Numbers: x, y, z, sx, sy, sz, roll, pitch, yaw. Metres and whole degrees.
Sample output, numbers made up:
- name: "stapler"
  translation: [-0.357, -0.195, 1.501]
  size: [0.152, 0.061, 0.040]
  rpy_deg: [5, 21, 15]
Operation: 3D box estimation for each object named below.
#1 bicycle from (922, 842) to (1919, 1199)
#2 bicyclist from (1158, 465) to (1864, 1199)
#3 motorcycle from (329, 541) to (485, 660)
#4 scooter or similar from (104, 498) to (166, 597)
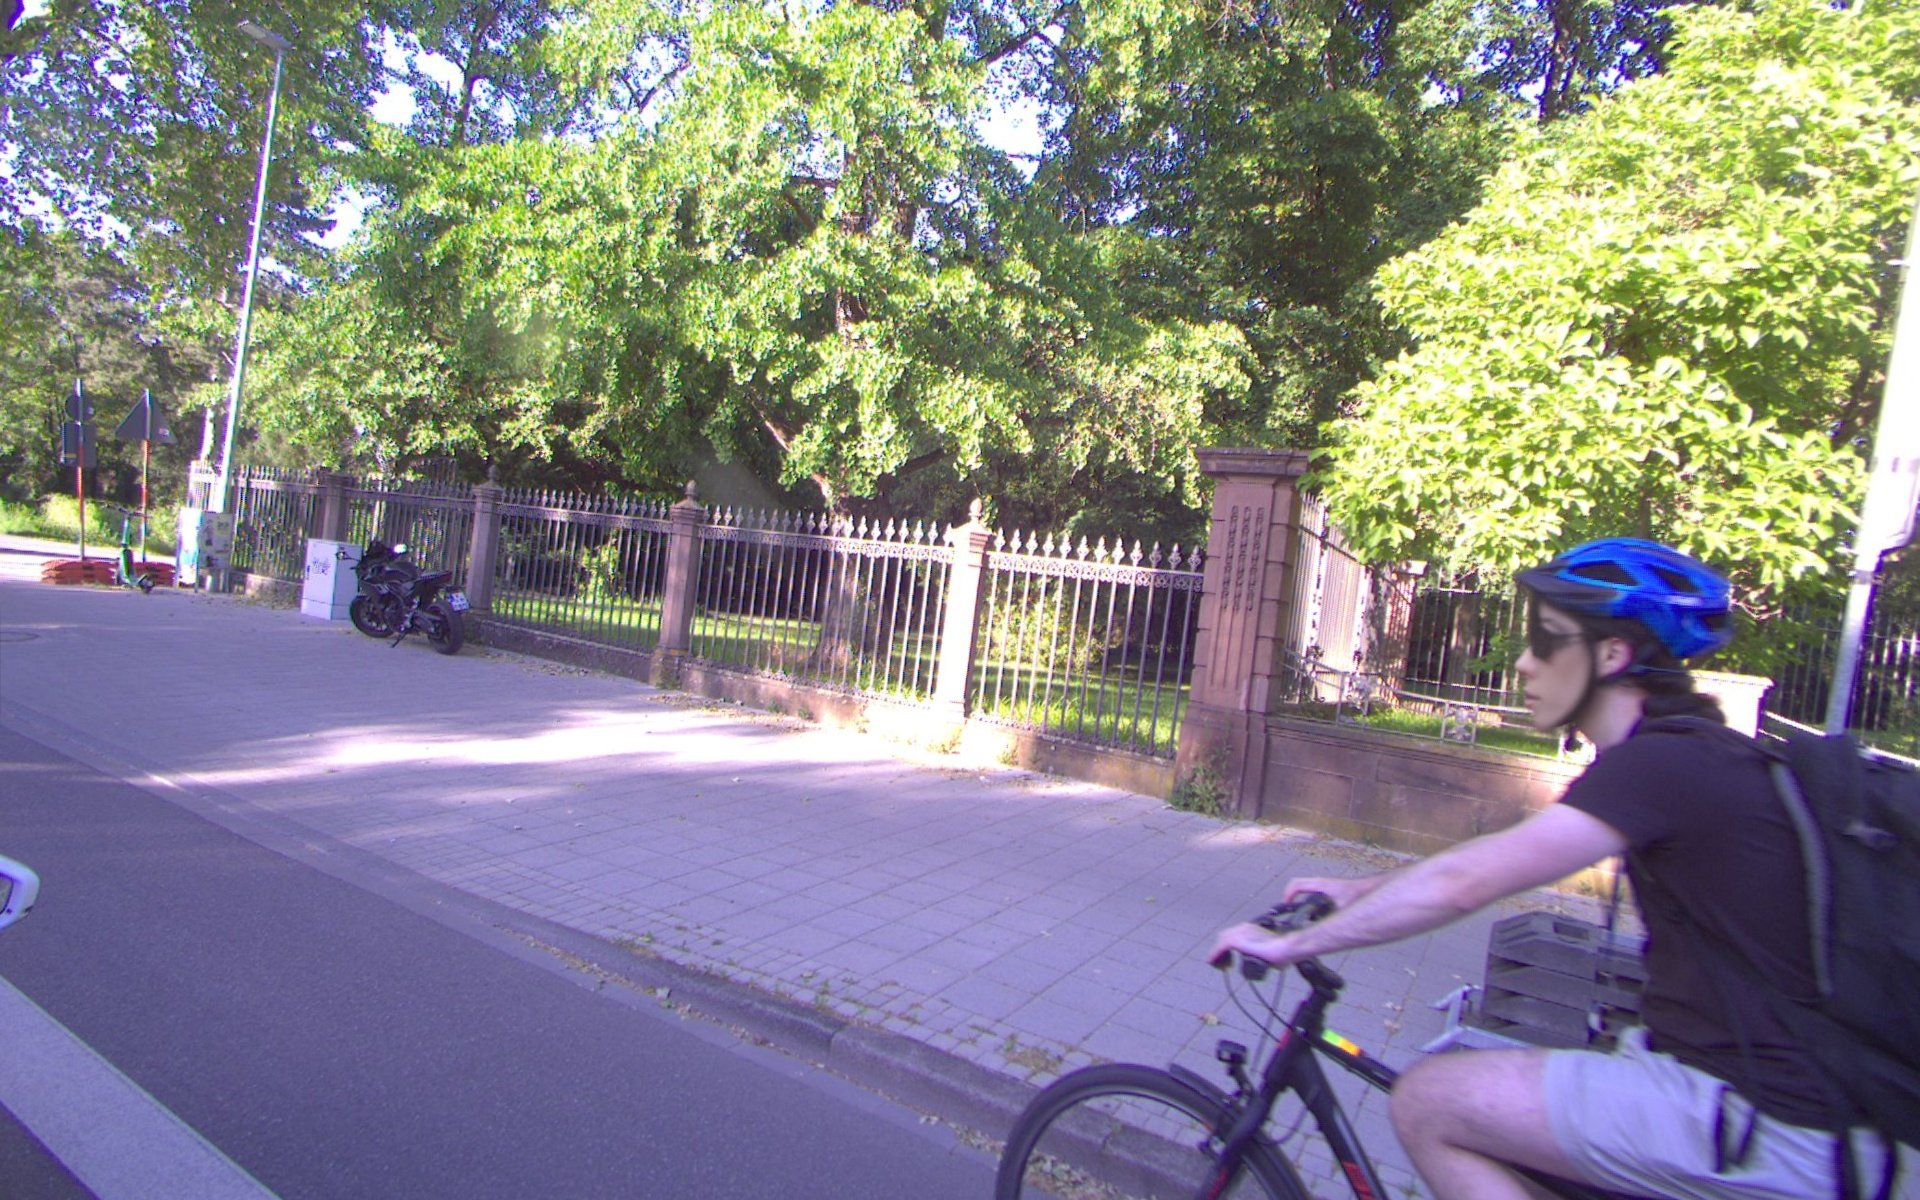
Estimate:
- name: "bicycle"
  translation: [0.976, 1.143, 1.505]
  size: [2.046, 1.021, 0.670]
  rpy_deg: [7, -1, 30]
- name: "bicyclist"
  translation: [0.810, 0.669, 1.643]
  size: [0.709, 1.621, 0.666]
  rpy_deg: [7, -1, 30]
- name: "motorcycle"
  translation: [-6.446, -0.011, 11.678]
  size: [2.134, 1.146, 0.506]
  rpy_deg: [7, 2, 31]
- name: "scooter or similar"
  translation: [-12.095, -0.777, 14.747]
  size: [1.152, 1.344, 0.228]
  rpy_deg: [7, 2, 31]
